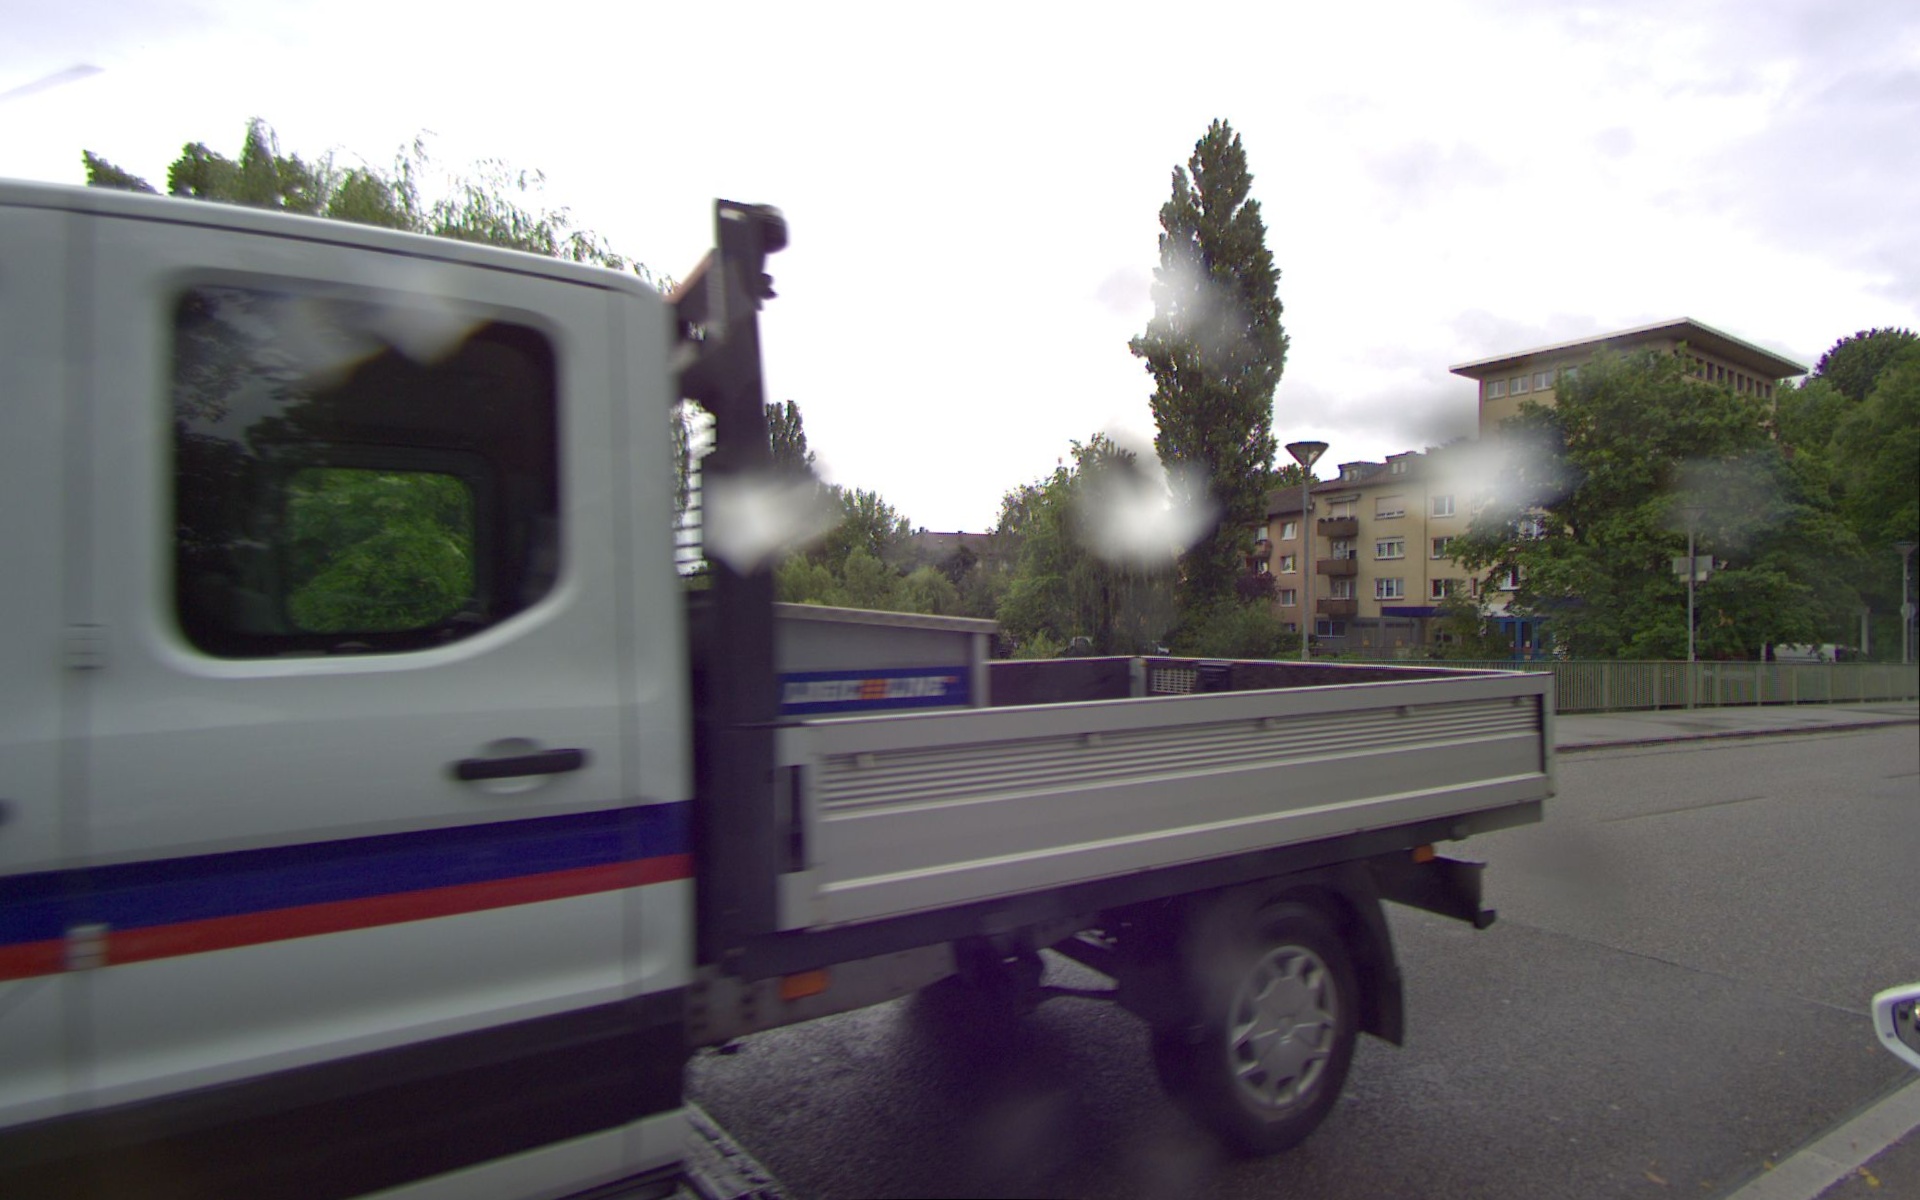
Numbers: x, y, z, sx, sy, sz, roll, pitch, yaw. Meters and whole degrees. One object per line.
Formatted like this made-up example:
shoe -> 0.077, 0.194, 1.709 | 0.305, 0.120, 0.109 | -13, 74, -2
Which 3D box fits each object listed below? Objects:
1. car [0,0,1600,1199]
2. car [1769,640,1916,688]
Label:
car -> -1.204, 0.364, 2.696 | 6.434, 2.339, 2.278 | 1, -3, -31
car -> 39.465, 2.821, 45.037 | 1.982, 1.879, 4.706 | 0, -1, -38
